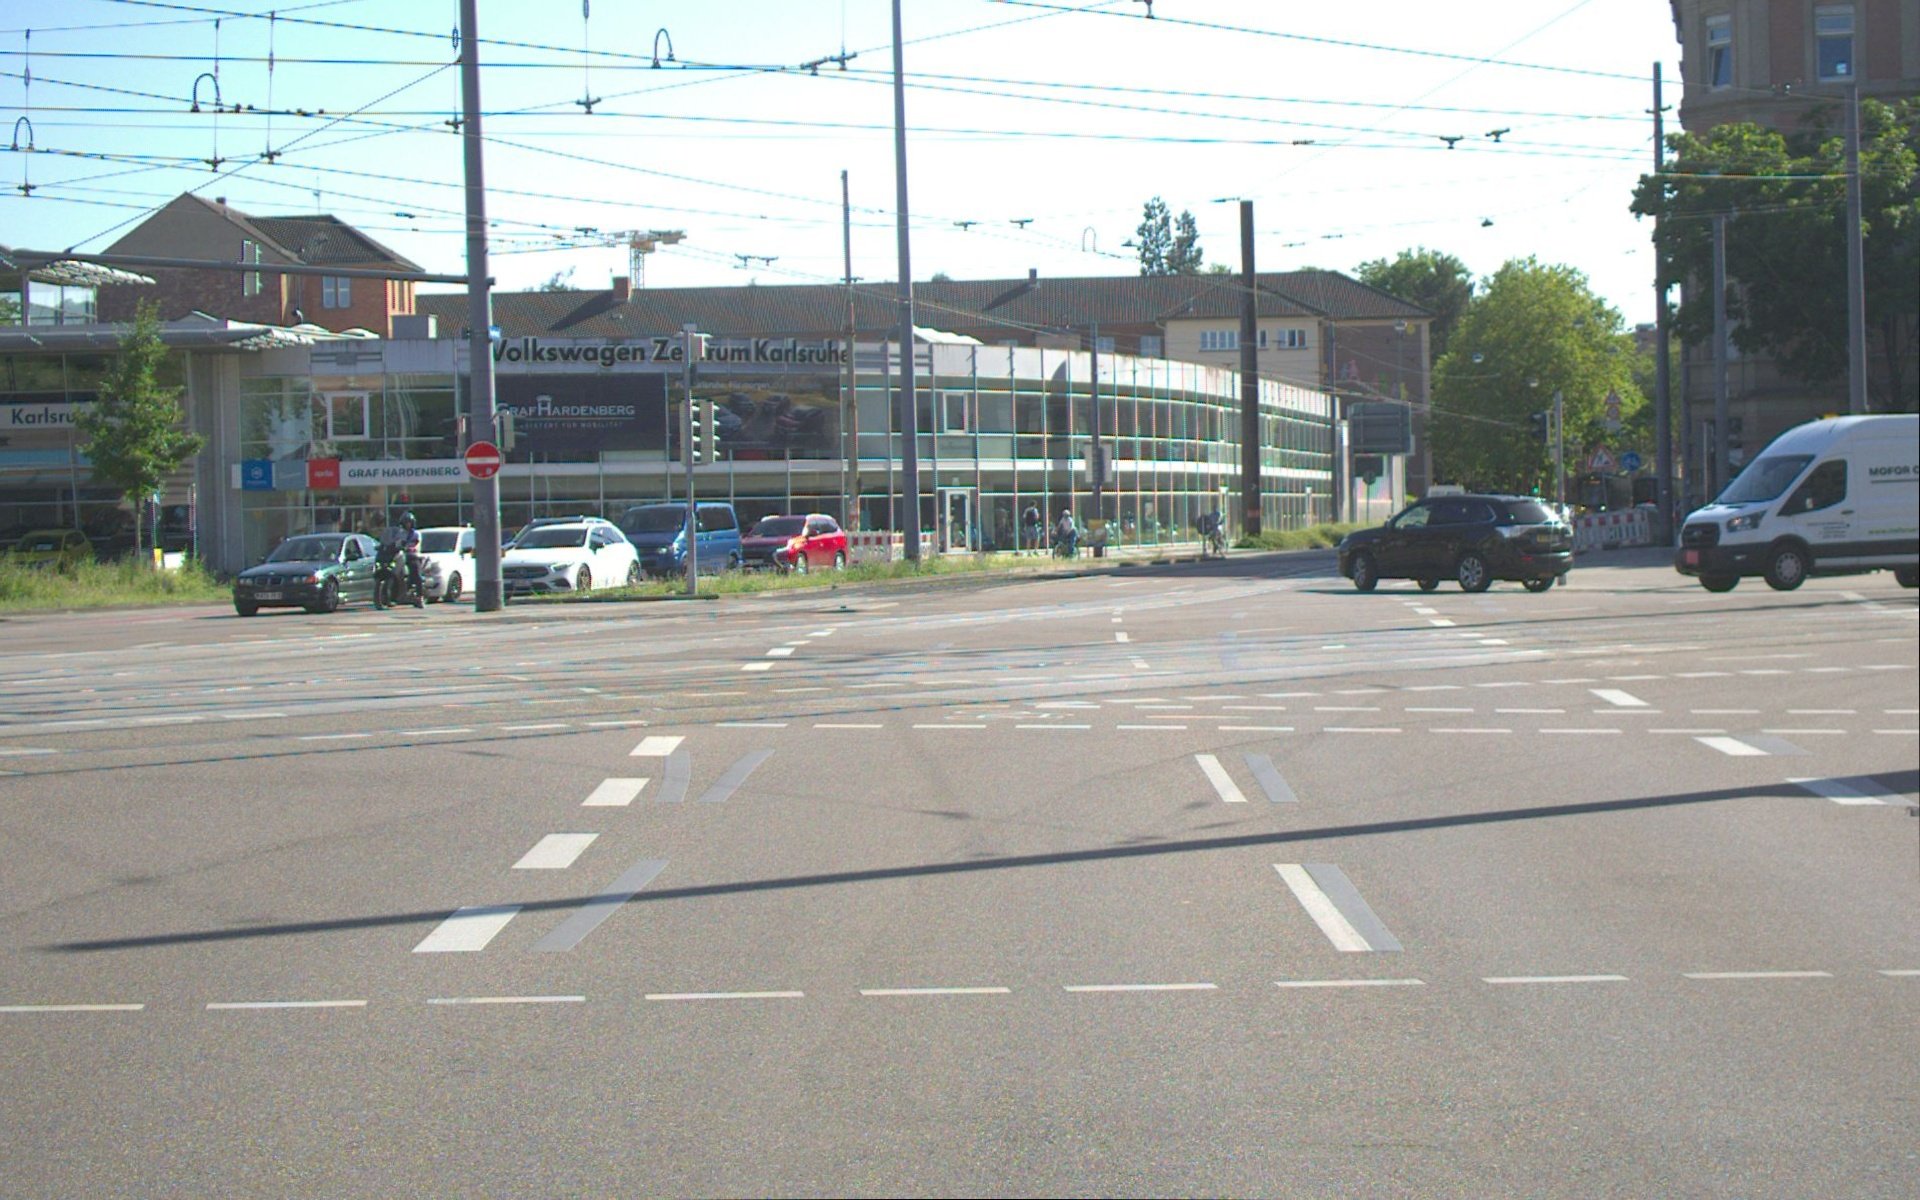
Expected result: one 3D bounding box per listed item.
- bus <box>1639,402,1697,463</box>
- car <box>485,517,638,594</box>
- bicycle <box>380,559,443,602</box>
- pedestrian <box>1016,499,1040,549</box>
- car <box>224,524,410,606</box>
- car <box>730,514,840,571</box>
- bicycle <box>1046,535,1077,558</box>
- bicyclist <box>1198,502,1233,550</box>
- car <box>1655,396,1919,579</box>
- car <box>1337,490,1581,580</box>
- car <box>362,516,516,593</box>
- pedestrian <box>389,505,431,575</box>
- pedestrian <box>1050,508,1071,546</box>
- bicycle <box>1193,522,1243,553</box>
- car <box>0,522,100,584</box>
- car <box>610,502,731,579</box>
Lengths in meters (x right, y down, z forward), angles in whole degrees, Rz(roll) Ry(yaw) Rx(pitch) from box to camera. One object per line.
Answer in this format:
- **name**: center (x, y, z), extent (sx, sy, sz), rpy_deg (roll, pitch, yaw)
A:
- **bus**: center (51.320, -12.008, 248.815), extent (3.839, 3.595, 24.853), rpy_deg (1, 1, 12)
- **car**: center (-7.498, -0.863, 65.035), extent (1.627, 1.377, 3.735), rpy_deg (-1, 1, 14)
- **bicycle**: center (-9.658, -0.354, 60.549), extent (0.423, 0.715, 1.633), rpy_deg (-1, 1, 17)
- **pedestrian**: center (2.305, -2.592, 116.649), extent (0.543, 1.683, 0.629), rpy_deg (0, 1, 30)
- **car**: center (-11.368, -0.641, 60.966), extent (1.705, 1.349, 3.698), rpy_deg (-1, 2, 17)
- **car**: center (-4.369, -1.463, 86.172), extent (1.627, 1.359, 3.683), rpy_deg (-1, 1, 16)
- **bicycle**: center (3.225, -1.710, 109.350), extent (0.423, 0.715, 1.473), rpy_deg (0, 2, 26)
- **bicyclist**: center (8.725, -2.529, 117.441), extent (0.811, 1.618, 0.927), rpy_deg (0, 1, 32)
- **car**: center (14.006, -1.776, 53.796), extent (5.903, 2.735, 2.145), rpy_deg (-2, 1, -22)
- **car**: center (8.656, -1.124, 59.941), extent (1.699, 1.497, 4.264), rpy_deg (-2, 2, -36)
- **car**: center (-10.097, -0.909, 66.917), extent (1.627, 1.419, 3.683), rpy_deg (-1, 1, 14)
- **pedestrian**: center (-9.679, -1.059, 60.525), extent (0.423, 1.200, 0.749), rpy_deg (-1, 1, 17)
- **pedestrian**: center (3.203, -2.325, 109.319), extent (0.423, 1.200, 0.679), rpy_deg (0, 1, 26)
- **bicycle**: center (8.845, -2.147, 117.717), extent (0.811, 1.041, 2.123), rpy_deg (0, 2, 32)
- **car**: center (-26.501, -1.387, 99.969), extent (1.966, 1.700, 4.084), rpy_deg (-1, 1, -1)
- **car**: center (-6.619, -1.384, 79.046), extent (1.627, 1.686, 3.683), rpy_deg (-1, 1, 14)
